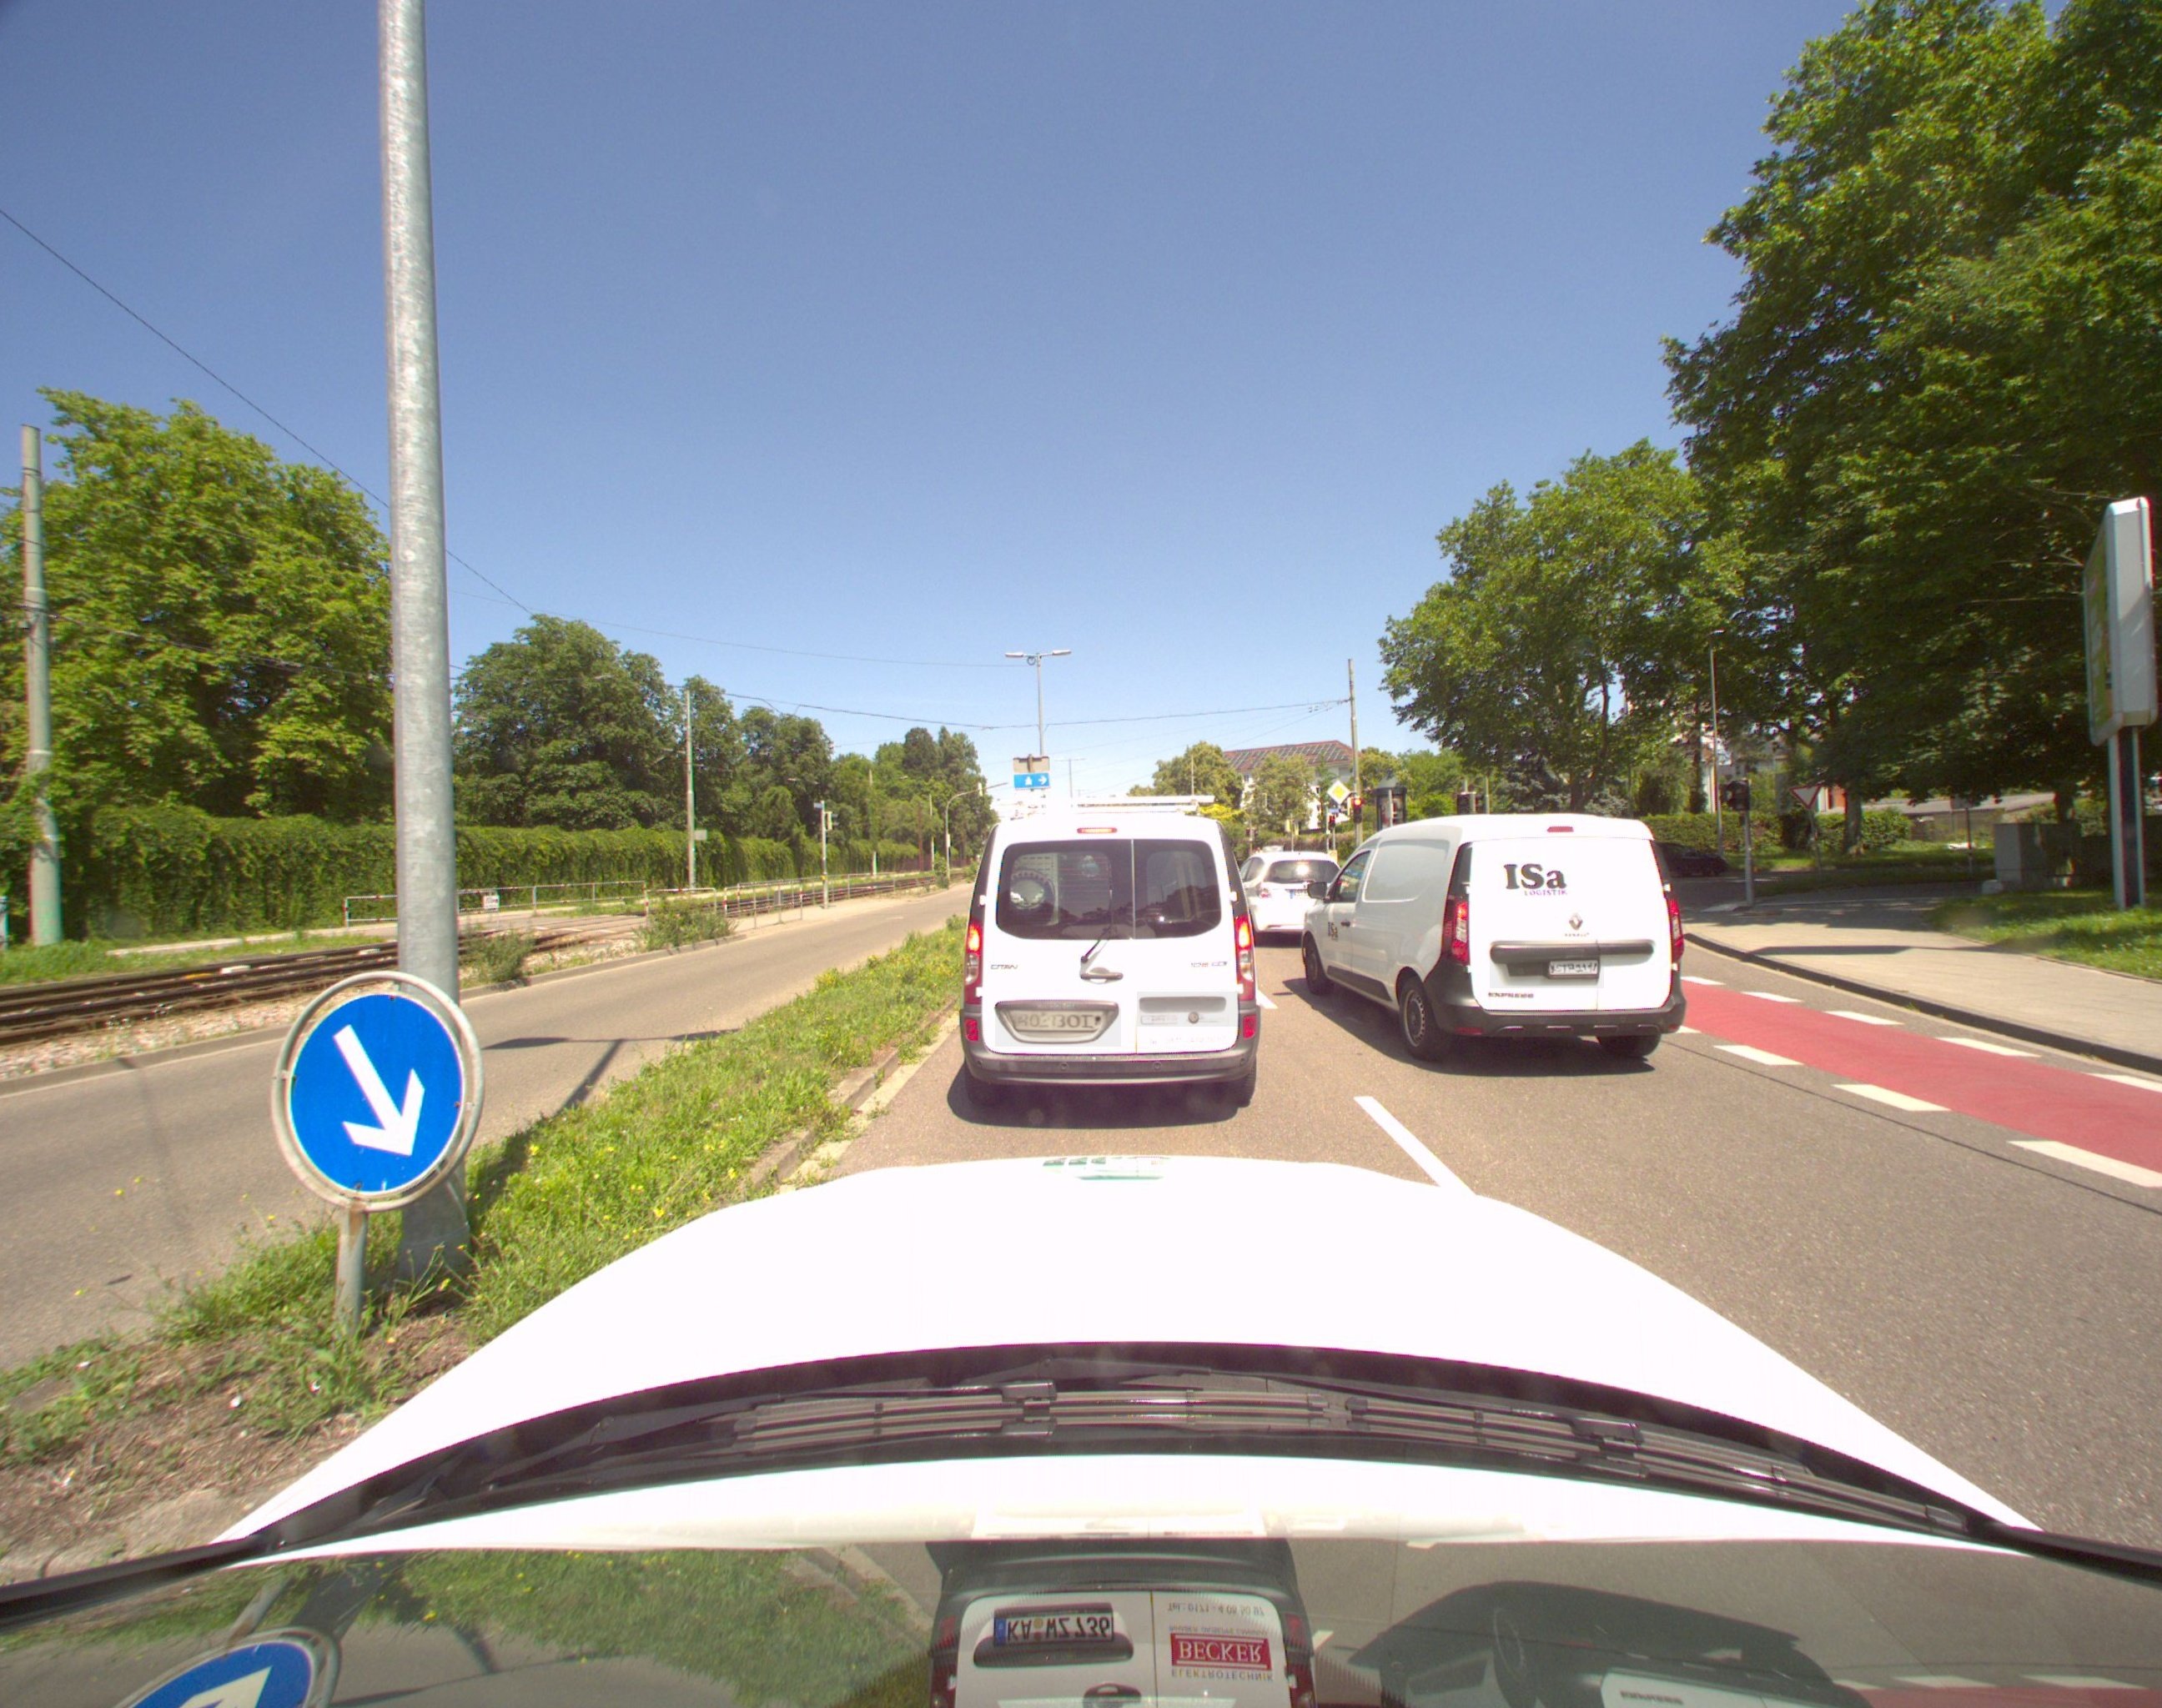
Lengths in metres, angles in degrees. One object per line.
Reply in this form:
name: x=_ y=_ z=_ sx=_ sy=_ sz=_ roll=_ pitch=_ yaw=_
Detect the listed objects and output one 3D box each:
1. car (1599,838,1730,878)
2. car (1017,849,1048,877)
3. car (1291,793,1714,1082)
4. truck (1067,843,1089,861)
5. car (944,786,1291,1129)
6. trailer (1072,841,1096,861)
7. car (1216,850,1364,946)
car: x=23.001 y=0.154 z=32.239 sx=3.848 sy=1.311 sz=1.701 roll=-3 pitch=0 yaw=10
car: x=-3.681 y=0.666 z=61.175 sx=1.992 sy=2.013 sz=3.990 roll=-2 pitch=0 yaw=-7
car: x=3.232 y=0.537 z=7.255 sx=1.704 sy=1.830 sz=4.013 roll=-1 pitch=0 yaw=0
truck: x=-0.697 y=-0.387 z=178.571 sx=3.574 sy=3.632 sz=8.783 roll=-2 pitch=0 yaw=-8
car: x=0.235 y=0.564 z=6.333 sx=1.860 sy=1.836 sz=3.849 roll=-1 pitch=0 yaw=1
trailer: x=0.609 y=-0.587 z=169.715 sx=3.526 sy=4.050 sz=8.950 roll=-2 pitch=0 yaw=-8
car: x=3.582 y=0.691 z=14.664 sx=1.749 sy=1.486 sz=4.002 roll=0 pitch=0 yaw=2
